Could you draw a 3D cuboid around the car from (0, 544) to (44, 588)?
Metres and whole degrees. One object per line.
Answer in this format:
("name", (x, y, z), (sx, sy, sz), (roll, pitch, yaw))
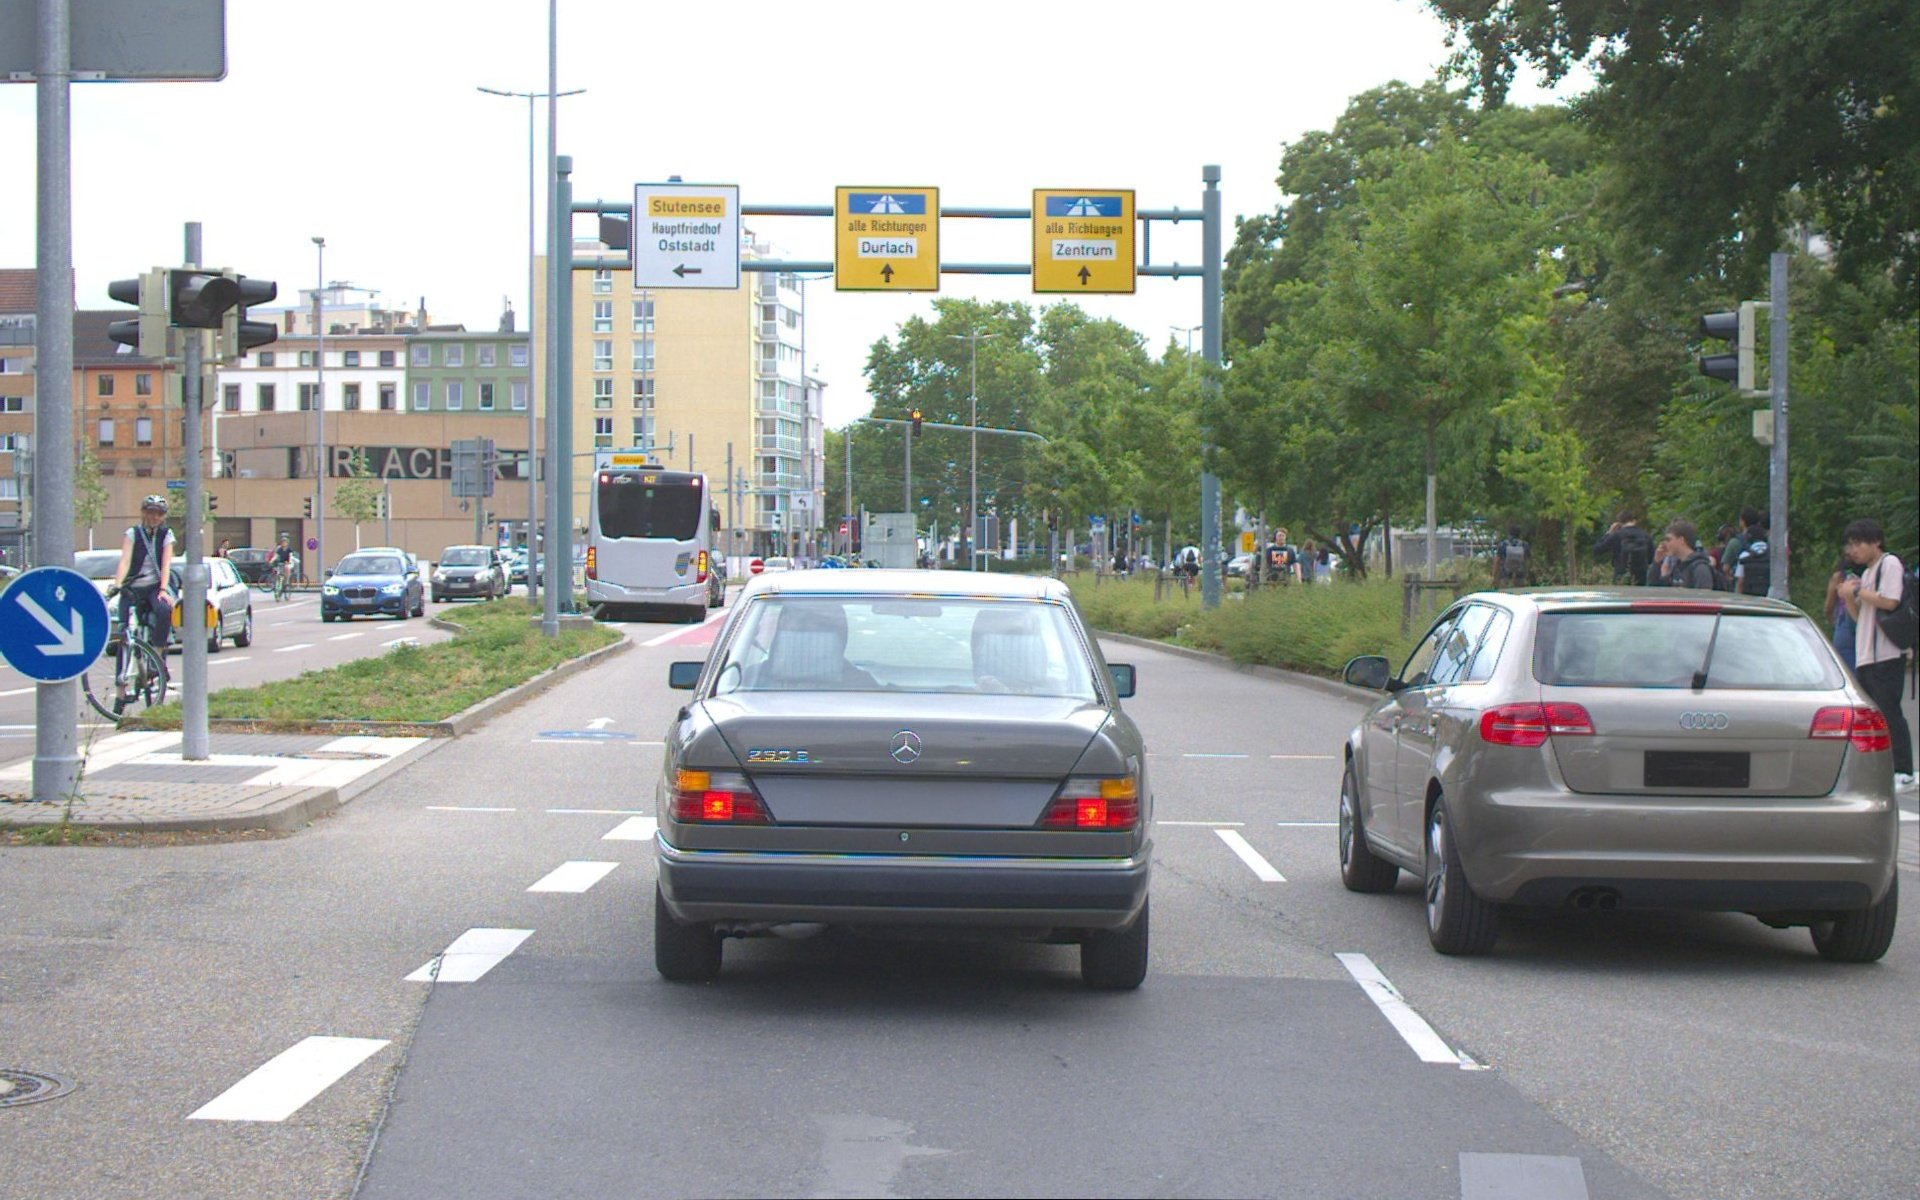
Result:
("car", (-34.433, -1.241, 119.742), (4.668, 1.470, 1.661), (2, 0, -7))

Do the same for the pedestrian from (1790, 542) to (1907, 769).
("pedestrian", (6.906, 0.419, 26.744), (0.656, 1.739, 0.780), (0, 1, -4))

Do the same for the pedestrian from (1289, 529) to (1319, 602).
("pedestrian", (8.120, -0.825, 81.093), (0.647, 1.707, 0.561), (0, 1, 13))

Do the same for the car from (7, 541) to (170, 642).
("car", (-14.915, -0.176, 59.075), (1.864, 1.646, 4.423), (0, 1, -3))

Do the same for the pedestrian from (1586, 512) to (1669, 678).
("pedestrian", (7.386, -0.066, 38.056), (0.693, 1.815, 0.954), (0, 1, -2))

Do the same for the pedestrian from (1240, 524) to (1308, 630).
("pedestrian", (5.471, -0.407, 59.858), (0.935, 1.824, 0.886), (1, 1, 25))

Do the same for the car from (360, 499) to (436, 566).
("car", (-17.402, -2.087, 106.601), (1.941, 2.007, 4.001), (0, 1, -4))

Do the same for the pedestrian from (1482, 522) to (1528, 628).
("pedestrian", (8.692, -0.406, 54.887), (0.587, 1.677, 0.748), (0, 1, -2))

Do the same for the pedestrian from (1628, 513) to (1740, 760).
("pedestrian", (5.133, 0.249, 24.394), (0.601, 1.729, 0.654), (0, 1, -5))

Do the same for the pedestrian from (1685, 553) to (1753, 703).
("pedestrian", (8.418, 0.303, 38.124), (0.555, 1.649, 0.753), (0, 1, -2))

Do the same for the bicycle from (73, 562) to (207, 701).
("bicycle", (-6.568, 0.230, 27.608), (0.573, 1.052, 1.926), (1, 1, 1))

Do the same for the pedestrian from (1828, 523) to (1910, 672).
("pedestrian", (9.723, -0.033, 36.795), (0.635, 1.578, 0.785), (0, 1, -2))

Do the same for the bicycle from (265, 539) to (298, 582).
("bicycle", (-18.893, -1.101, 95.810), (0.581, 1.166, 1.964), (0, 1, -2))

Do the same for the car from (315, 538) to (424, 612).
("car", (-12.432, -0.534, 72.586), (1.801, 1.506, 4.104), (0, 0, -3))

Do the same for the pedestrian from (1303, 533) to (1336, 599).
("pedestrian", (8.023, -0.761, 76.649), (0.657, 1.465, 0.561), (0, 1, 15))

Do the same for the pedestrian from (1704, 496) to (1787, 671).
("pedestrian", (8.227, -0.175, 36.035), (0.656, 1.815, 0.812), (0, 1, -2))

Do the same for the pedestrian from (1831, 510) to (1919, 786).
("pedestrian", (5.876, 0.297, 21.854), (0.454, 1.729, 0.637), (0, 1, -5))

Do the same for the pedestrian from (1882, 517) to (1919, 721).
("pedestrian", (7.993, 0.145, 28.084), (0.656, 1.642, 0.812), (0, 1, -4))

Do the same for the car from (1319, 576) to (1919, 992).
("car", (2.596, 0.656, 14.339), (1.724, 1.452, 3.736), (0, 1, -1))

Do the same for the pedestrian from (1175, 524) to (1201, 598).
("pedestrian", (6.235, -1.077, 94.170), (0.614, 2.007, 0.597), (1, 1, -4))

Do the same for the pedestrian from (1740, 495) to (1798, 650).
("pedestrian", (9.238, -0.314, 39.265), (0.484, 1.757, 0.664), (0, 1, -2))

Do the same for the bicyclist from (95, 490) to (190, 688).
("bicyclist", (-6.563, -0.095, 27.618), (0.572, 1.568, 0.699), (1, 1, 2))

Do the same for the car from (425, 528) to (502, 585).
("car", (-13.303, -1.185, 92.195), (1.571, 1.484, 3.637), (-1, 1, -1))

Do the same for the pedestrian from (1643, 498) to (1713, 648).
("pedestrian", (8.377, -0.316, 40.135), (0.619, 1.729, 0.814), (0, 1, -2))

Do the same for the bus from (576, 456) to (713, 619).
("bus", (-6.897, -1.395, 75.828), (2.831, 3.379, 8.184), (0, 1, -4))

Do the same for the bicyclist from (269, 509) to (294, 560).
("bicyclist", (-18.888, -1.819, 95.715), (0.580, 1.414, 0.811), (0, 1, -2))

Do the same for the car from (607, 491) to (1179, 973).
("car", (-0.239, 0.366, 12.719), (1.761, 1.484, 4.171), (0, 1, -1))

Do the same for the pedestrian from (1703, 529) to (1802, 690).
("pedestrian", (7.952, 0.090, 34.521), (0.775, 1.597, 0.812), (0, 1, -2))

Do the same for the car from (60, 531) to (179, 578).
("car", (-29.438, -1.605, 120.531), (3.855, 1.512, 1.661), (2, 1, -7))
